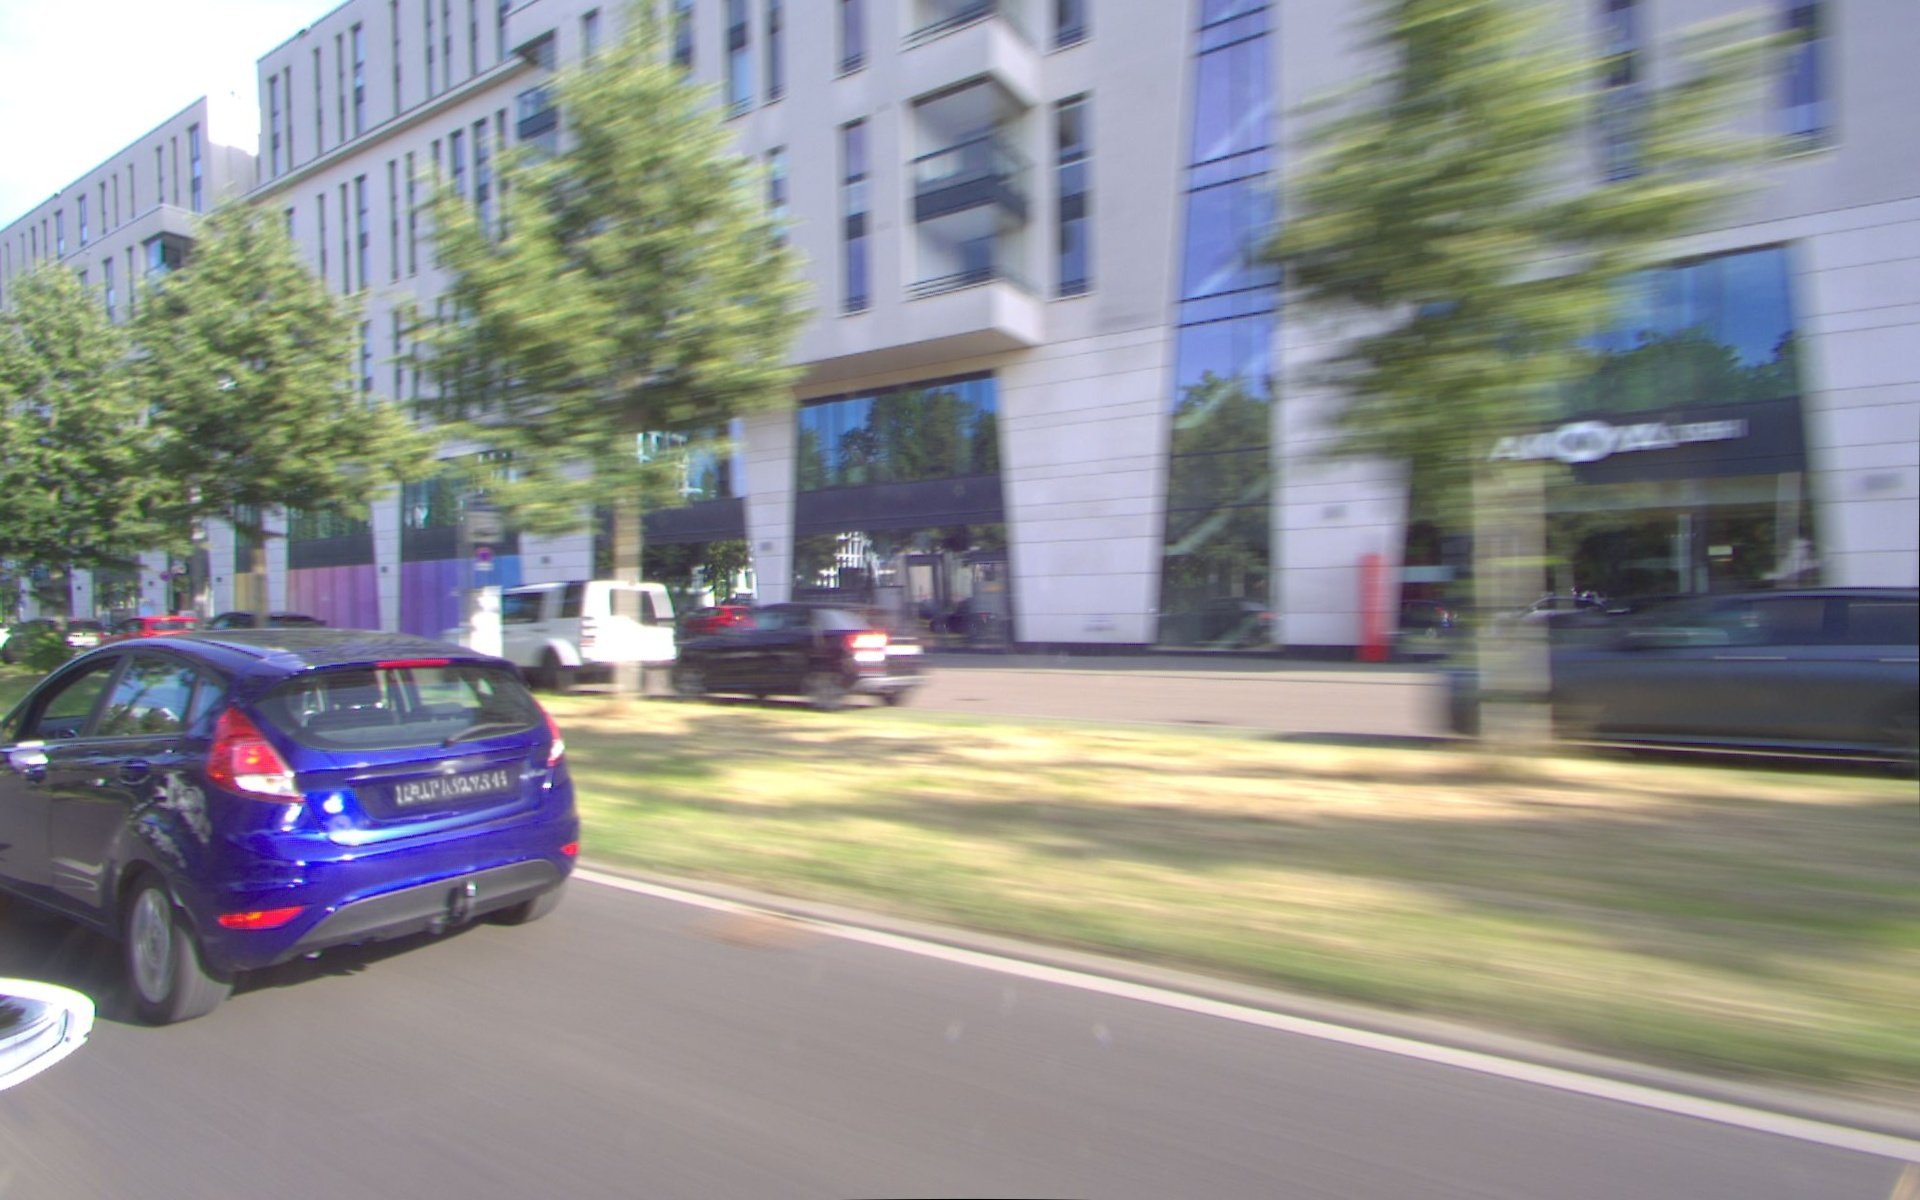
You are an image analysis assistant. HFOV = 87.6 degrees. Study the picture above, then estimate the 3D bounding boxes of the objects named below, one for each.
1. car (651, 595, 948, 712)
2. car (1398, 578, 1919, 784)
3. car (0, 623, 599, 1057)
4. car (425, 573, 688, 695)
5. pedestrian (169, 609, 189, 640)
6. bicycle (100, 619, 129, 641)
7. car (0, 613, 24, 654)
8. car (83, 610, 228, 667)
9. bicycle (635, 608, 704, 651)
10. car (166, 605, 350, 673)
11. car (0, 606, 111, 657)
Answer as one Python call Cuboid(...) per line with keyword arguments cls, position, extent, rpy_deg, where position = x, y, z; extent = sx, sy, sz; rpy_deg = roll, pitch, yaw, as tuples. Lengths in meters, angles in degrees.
Cuboid(cls="car", position=(-2.397, 0.753, 14.715), extent=(4.148, 1.507, 1.758), rpy_deg=(-1, -2, 30))
Cuboid(cls="car", position=(6.610, 0.647, 8.741), extent=(4.855, 1.507, 1.755), rpy_deg=(-2, -2, 36))
Cuboid(cls="car", position=(-3.713, 0.860, 5.033), extent=(3.852, 1.442, 1.557), rpy_deg=(-1, -2, 32))
Cuboid(cls="car", position=(-7.183, 0.613, 17.670), extent=(4.775, 1.898, 1.891), rpy_deg=(-1, -2, 32))
Cuboid(cls="pedestrian", position=(-39.479, 1.241, 50.615), extent=(0.505, 1.541, 0.597), rpy_deg=(0, -1, 4))
Cuboid(cls="bicycle", position=(-39.690, 1.402, 47.007), extent=(2.015, 1.014, 0.417), rpy_deg=(-1, 3, 33))
Cuboid(cls="car", position=(-34.969, 1.200, 35.417), extent=(4.106, 1.430, 1.614), rpy_deg=(-1, -2, 30))
Cuboid(cls="car", position=(-21.890, 1.038, 27.215), extent=(4.053, 1.450, 1.727), rpy_deg=(-1, -2, 30))
Cuboid(cls="bicycle", position=(-7.696, 0.785, 26.519), extent=(2.048, 1.085, 0.509), rpy_deg=(-1, 1, 33))
Cuboid(cls="car", position=(-16.933, 0.930, 24.121), extent=(4.347, 1.510, 1.867), rpy_deg=(-1, -2, 28))
Cuboid(cls="car", position=(-27.905, 0.972, 30.673), extent=(4.657, 1.450, 1.724), rpy_deg=(-1, -2, 34))
